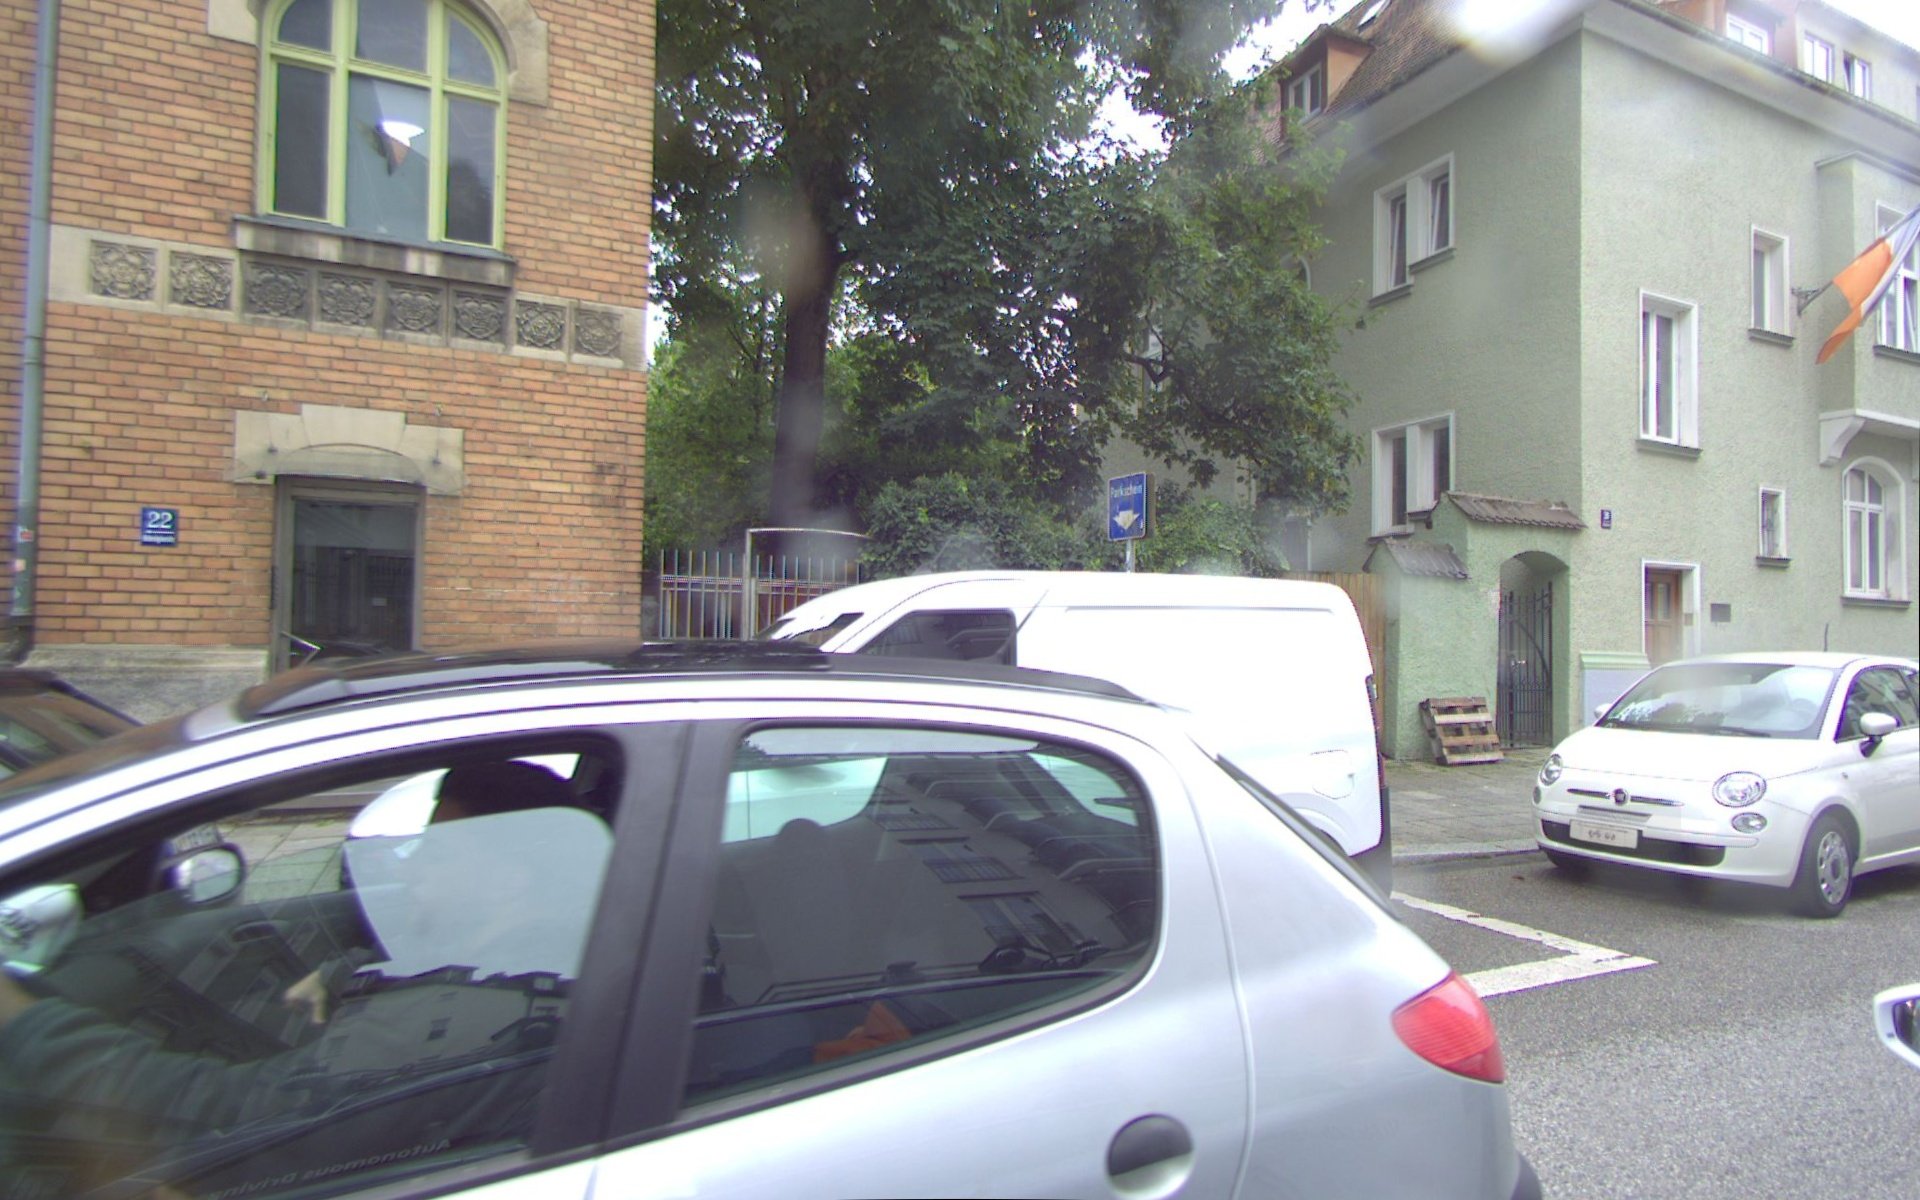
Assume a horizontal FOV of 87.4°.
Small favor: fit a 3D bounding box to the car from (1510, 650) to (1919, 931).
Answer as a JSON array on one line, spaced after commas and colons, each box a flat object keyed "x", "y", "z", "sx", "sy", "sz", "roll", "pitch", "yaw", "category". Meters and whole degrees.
[{"x": 5.445, "y": 1.093, "z": 6.742, "sx": 3.270, "sy": 1.485, "sz": 1.469, "roll": 2, "pitch": -3, "yaw": -27, "category": "car"}]

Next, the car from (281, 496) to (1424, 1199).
[{"x": -0.206, "y": 0.745, "z": 4.197, "sx": 4.091, "sy": 1.827, "sz": 1.685, "roll": 2, "pitch": -3, "yaw": -26, "category": "car"}]

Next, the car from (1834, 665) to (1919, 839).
[{"x": 10.003, "y": 1.325, "z": 8.937, "sx": 4.277, "sy": 1.430, "sz": 1.855, "roll": 3, "pitch": -4, "yaw": -27, "category": "car"}]

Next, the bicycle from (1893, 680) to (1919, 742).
[{"x": 15.642, "y": 1.751, "z": 16.003, "sx": 1.905, "sy": 0.919, "sz": 0.520, "roll": 2, "pitch": 1, "yaw": -29, "category": "bicycle"}]

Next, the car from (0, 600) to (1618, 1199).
[{"x": -0.909, "y": 0.746, "z": 1.552, "sx": 3.563, "sy": 1.429, "sz": 1.577, "roll": 2, "pitch": -3, "yaw": -24, "category": "car"}]

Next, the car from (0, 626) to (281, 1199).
[{"x": -4.275, "y": 0.792, "z": 2.420, "sx": 4.089, "sy": 1.461, "sz": 1.685, "roll": 2, "pitch": -3, "yaw": -25, "category": "car"}]
